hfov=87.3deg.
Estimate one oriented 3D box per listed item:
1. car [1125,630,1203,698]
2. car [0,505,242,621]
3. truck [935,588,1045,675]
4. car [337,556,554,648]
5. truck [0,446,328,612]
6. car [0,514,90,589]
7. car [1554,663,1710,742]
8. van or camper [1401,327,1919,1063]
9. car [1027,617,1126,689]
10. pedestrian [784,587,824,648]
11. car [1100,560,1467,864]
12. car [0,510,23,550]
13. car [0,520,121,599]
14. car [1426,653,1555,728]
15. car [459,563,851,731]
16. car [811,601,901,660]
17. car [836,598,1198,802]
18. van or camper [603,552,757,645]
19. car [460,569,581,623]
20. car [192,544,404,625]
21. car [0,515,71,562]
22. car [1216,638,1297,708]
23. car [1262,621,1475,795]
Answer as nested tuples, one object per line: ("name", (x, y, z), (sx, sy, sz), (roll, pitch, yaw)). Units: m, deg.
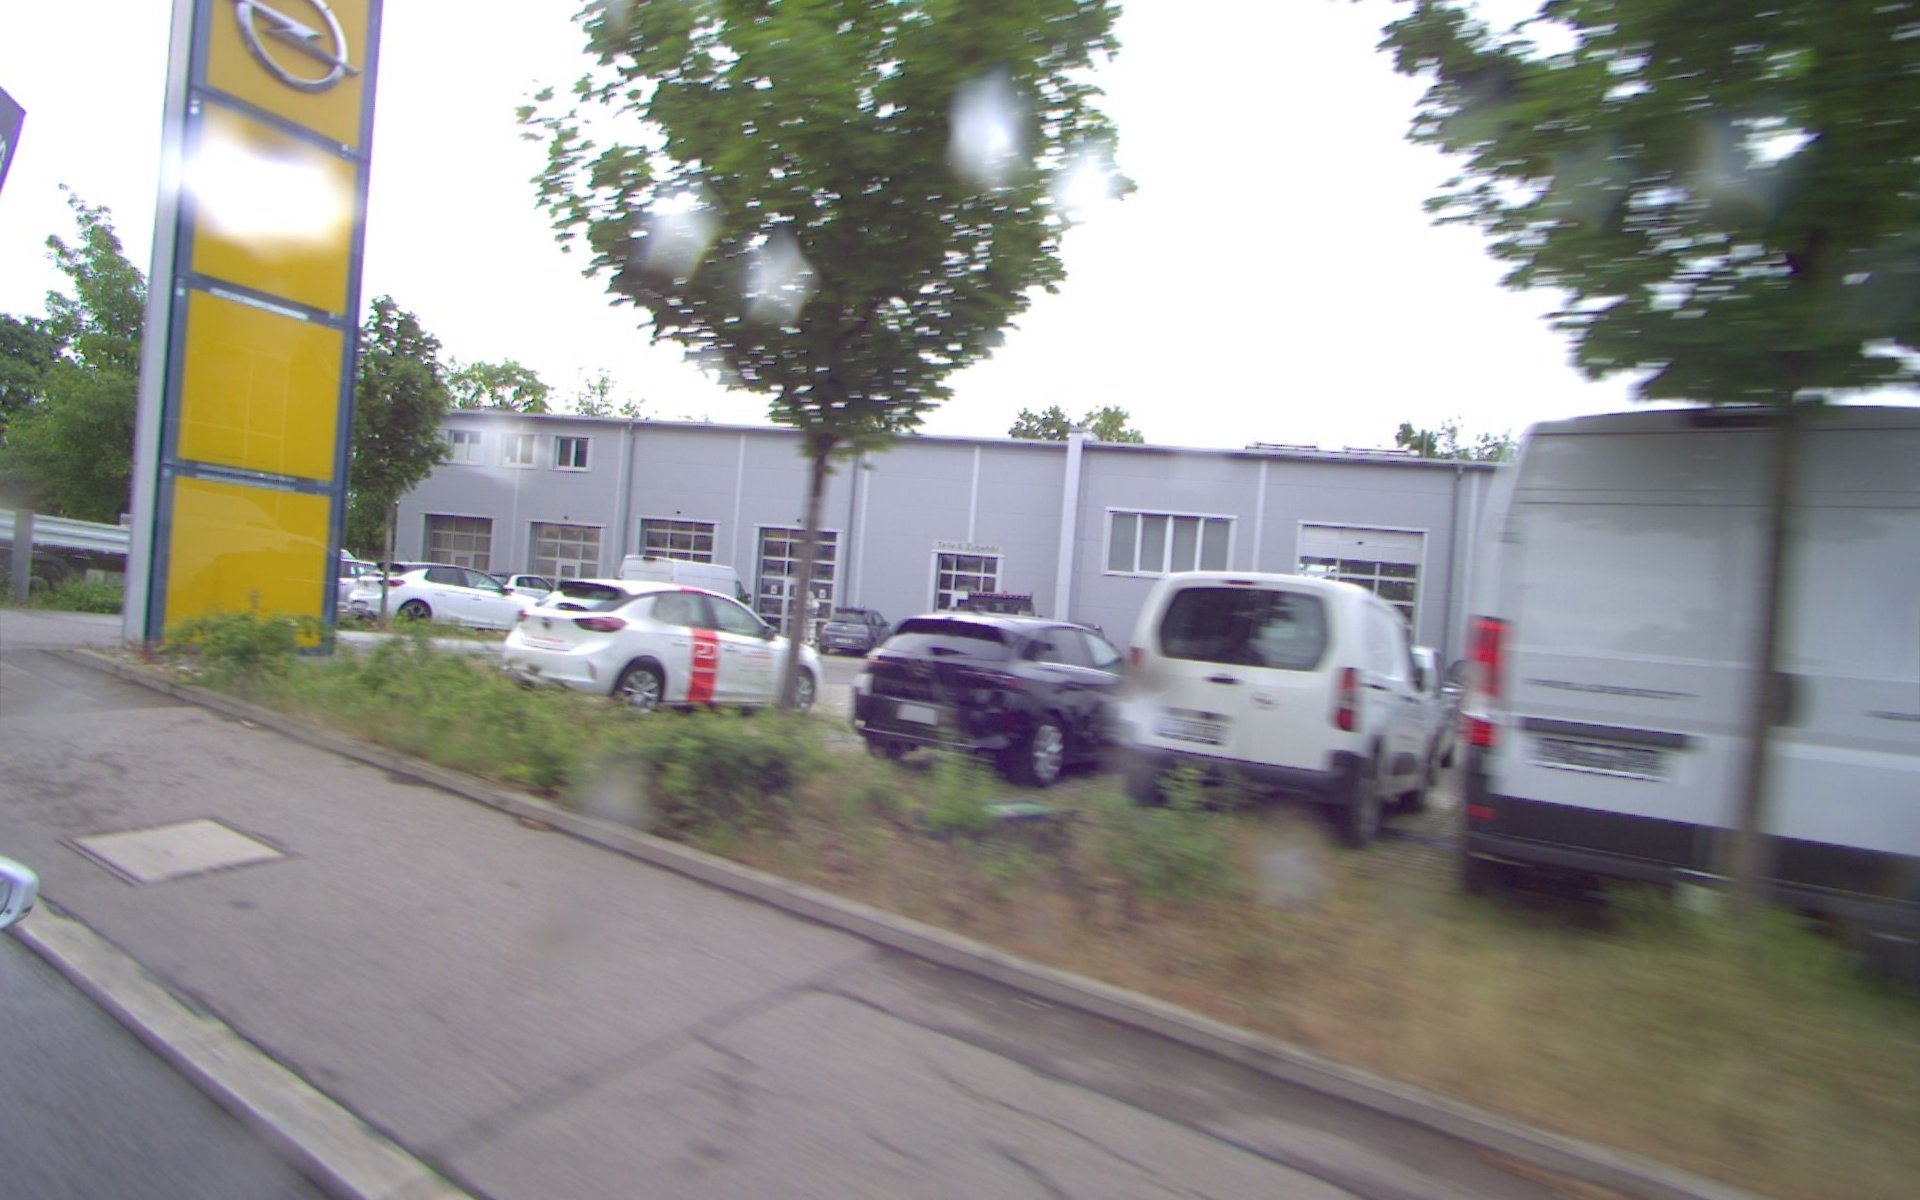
("car", (5.512, 1.685, 27.473), (1.794, 1.526, 4.002), (6, -1, 10))
("car", (-15.521, -0.648, 18.148), (1.706, 1.691, 3.698), (6, -1, 28))
("truck", (1.066, 0.867, 30.531), (2.322, 2.265, 6.274), (2, 0, 11))
("car", (-10.708, 0.091, 21.182), (1.532, 1.537, 3.695), (6, -1, 32))
("truck", (-13.526, -1.110, 16.122), (2.305, 2.038, 5.157), (7, -1, 29))
("car", (-23.659, -1.308, 23.876), (1.731, 1.608, 4.135), (7, -1, 32))
("car", (17.084, 2.545, 25.825), (1.812, 1.569, 4.002), (6, -1, 12))
("van or camper", (4.661, 0.512, 6.513), (2.313, 2.757, 5.745), (7, -1, 31))
("car", (3.288, 1.429, 27.668), (1.795, 1.652, 4.000), (6, -1, 18))
("pedestrian", (-5.265, 0.595, 33.998), (1.002, 1.904, 0.695), (7, 0, 8))
("car", (2.963, 0.841, 8.526), (1.814, 1.868, 4.131), (3, -2, 34))
("car", (-40.166, -2.898, 39.925), (1.772, 1.543, 3.989), (6, 3, 27))
("car", (-21.670, -1.017, 22.547), (1.731, 1.526, 3.993), (7, -1, 31))
("car", (13.567, 2.257, 26.004), (1.805, 1.442, 4.000), (5, 1, 12))
("car", (-3.302, 0.567, 11.634), (1.864, 1.446, 3.991), (7, 0, 32))
("car", (-3.260, 0.974, 32.235), (1.790, 1.571, 3.905), (6, -1, 9))
("car", (0.777, 0.910, 9.704), (1.719, 1.447, 3.993), (4, -3, 32))
("van or camper", (-8.881, -0.034, 32.503), (2.244, 2.522, 5.283), (7, 2, 14))
("car", (-15.589, -0.144, 35.924), (1.806, 1.622, 3.998), (6, 2, 13))
("car", (-15.221, -0.313, 23.302), (1.604, 1.435, 3.693), (6, -1, 34))
("car", (-36.483, -2.471, 37.946), (1.772, 1.540, 3.996), (6, -1, 27))
("car", (7.970, 1.898, 26.890), (1.795, 1.526, 4.000), (6, -1, 18))
("car", (5.369, 1.295, 12.874), (1.835, 1.660, 4.145), (6, -1, 30))
